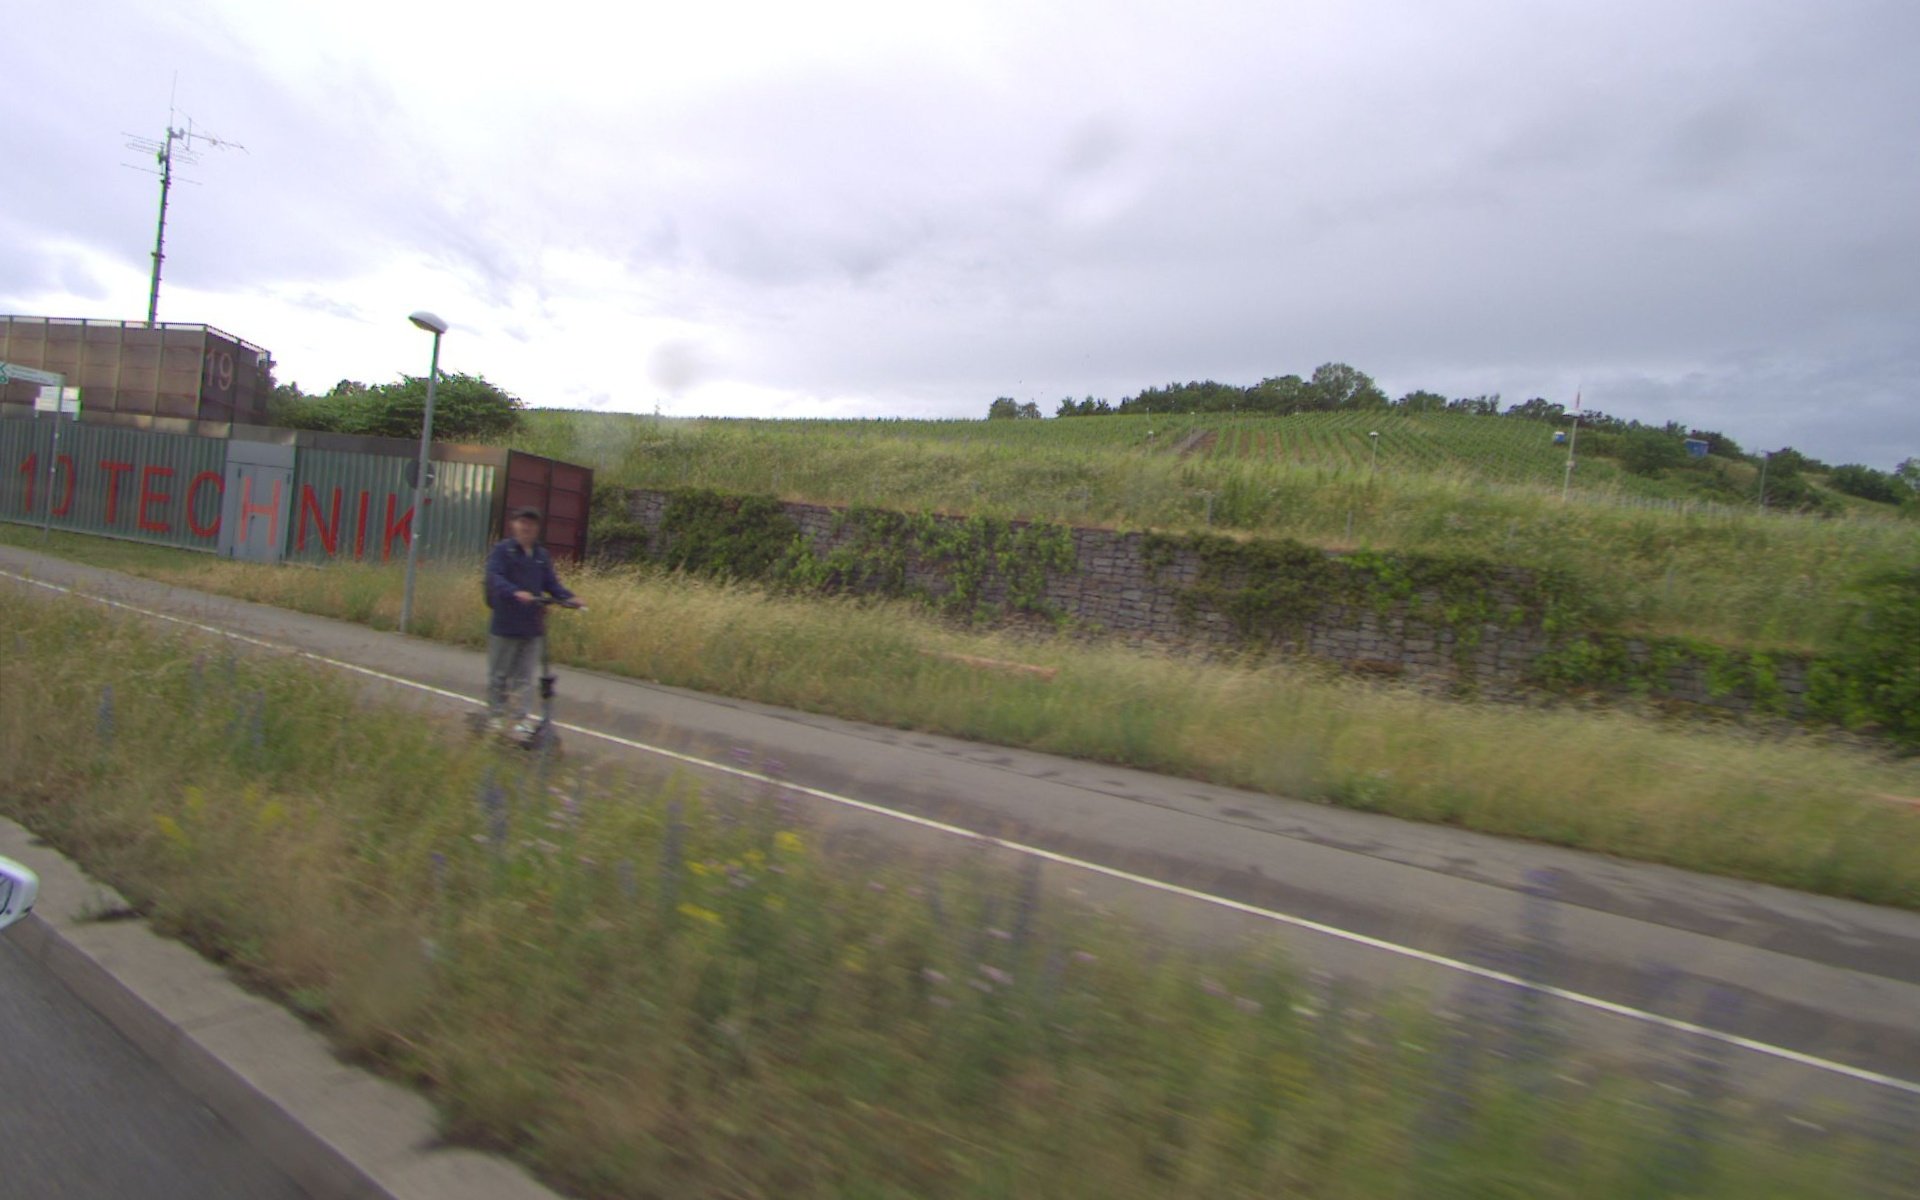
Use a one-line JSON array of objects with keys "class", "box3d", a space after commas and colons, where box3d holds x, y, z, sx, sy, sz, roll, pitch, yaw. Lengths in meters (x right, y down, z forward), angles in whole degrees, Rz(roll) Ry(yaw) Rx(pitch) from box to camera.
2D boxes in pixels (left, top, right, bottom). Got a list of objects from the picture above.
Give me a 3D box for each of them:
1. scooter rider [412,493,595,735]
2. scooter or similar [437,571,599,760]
[{"class": "scooter rider", "box3d": [-3.417, 0.099, 7.546, 0.815, 1.650, 0.806, 8, 2, 31]}, {"class": "scooter or similar", "box3d": [-3.274, 0.469, 7.434, 1.095, 1.210, 0.402, 8, -1, 32]}]
